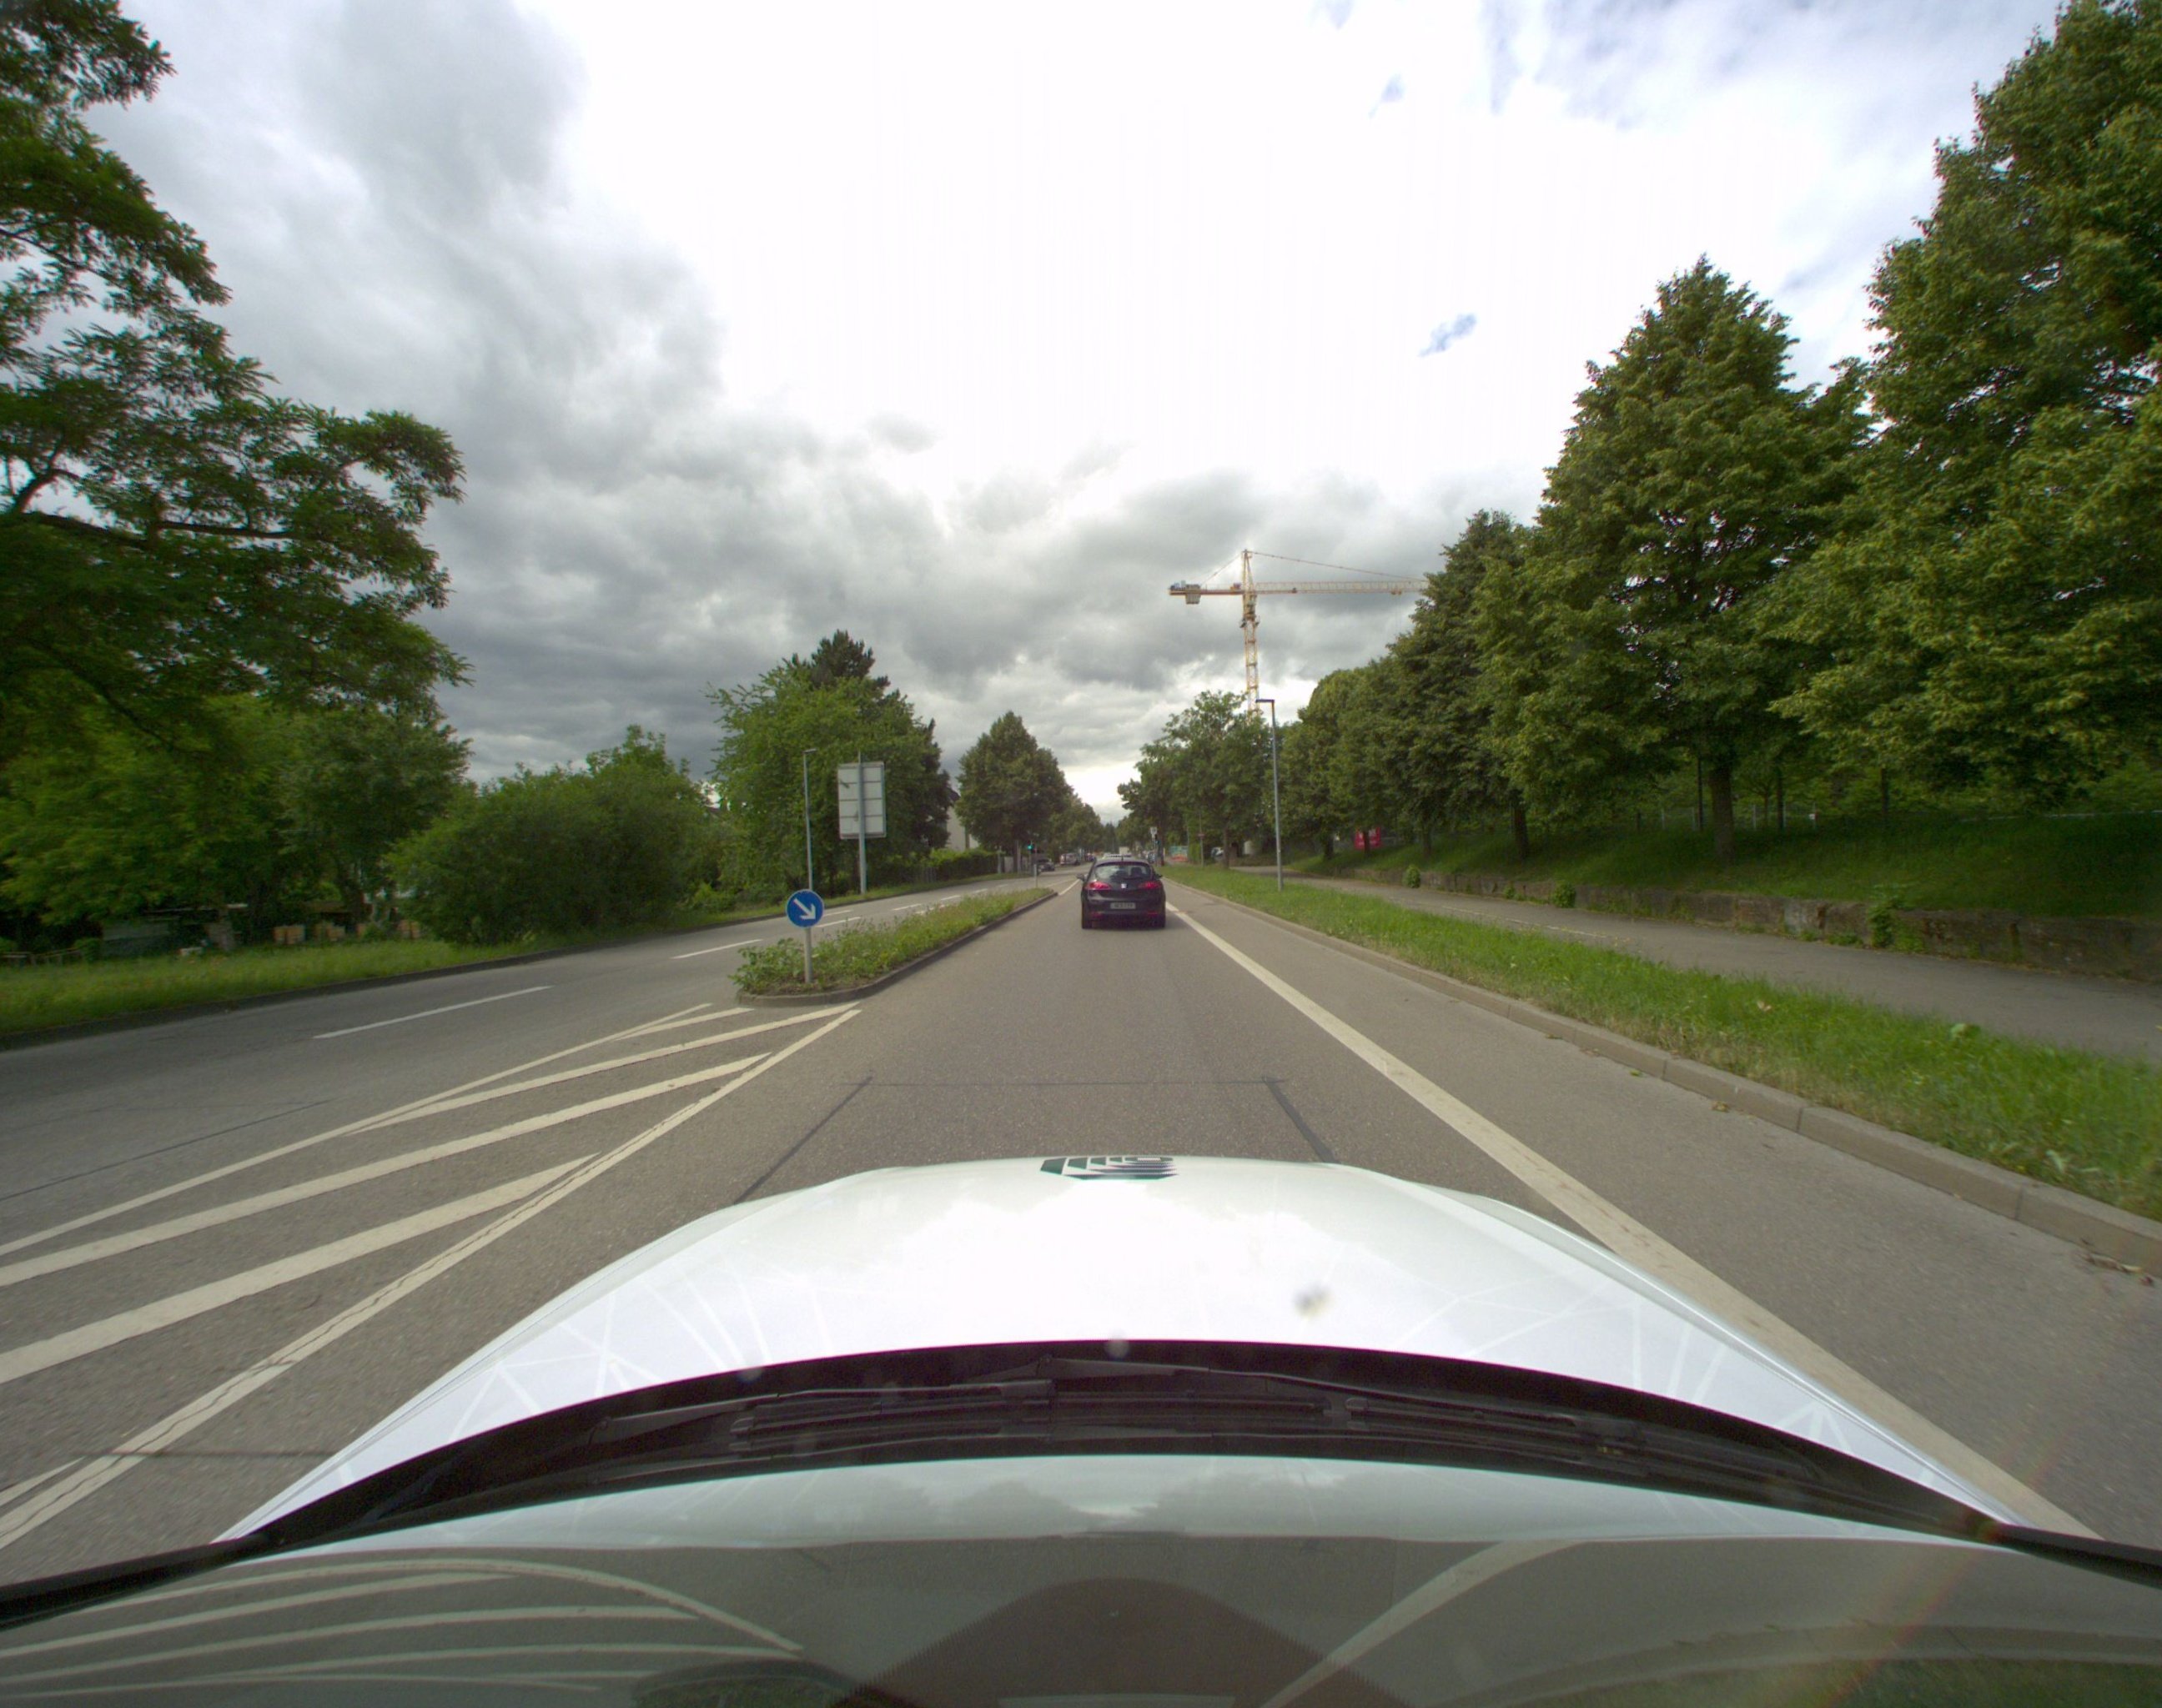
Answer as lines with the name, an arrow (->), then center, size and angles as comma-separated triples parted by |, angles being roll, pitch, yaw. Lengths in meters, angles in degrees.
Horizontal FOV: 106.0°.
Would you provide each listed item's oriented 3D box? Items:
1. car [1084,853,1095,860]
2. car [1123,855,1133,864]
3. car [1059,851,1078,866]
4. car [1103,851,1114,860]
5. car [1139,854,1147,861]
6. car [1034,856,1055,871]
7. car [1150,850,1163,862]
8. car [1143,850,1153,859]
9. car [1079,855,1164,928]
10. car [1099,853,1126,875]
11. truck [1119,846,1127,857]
car -> 1.804, 0.521, 173.979 | 2.091, 1.506, 5.789 | -4, 0, 3
car -> 9.377, 1.048, 161.485 | 1.873, 1.689, 4.217 | -2, 0, 3
car -> -1.786, 0.652, 116.849 | 2.091, 1.896, 5.789 | -4, 0, 3
car -> 5.220, 0.308, 154.881 | 1.866, 1.635, 4.347 | -4, 0, 5
car -> 13.991, 0.809, 183.455 | 1.681, 1.564, 4.217 | -4, 0, 3
car -> -3.858, 0.981, 87.463 | 1.711, 1.395, 4.805 | -4, 0, 3
car -> 10.262, 0.269, 110.744 | 1.681, 1.490, 3.358 | -2, 0, 3
car -> 13.101, 0.132, 159.084 | 1.681, 1.564, 4.217 | -2, 0, 3
car -> 0.858, 0.740, 17.747 | 1.656, 1.401, 3.813 | -1, 0, 2
car -> 2.270, 0.694, 57.893 | 1.838, 1.510, 3.816 | -1, 0, 4
truck -> 12.032, -0.827, 236.074 | 2.269, 3.104, 8.516 | 0, 0, 3
